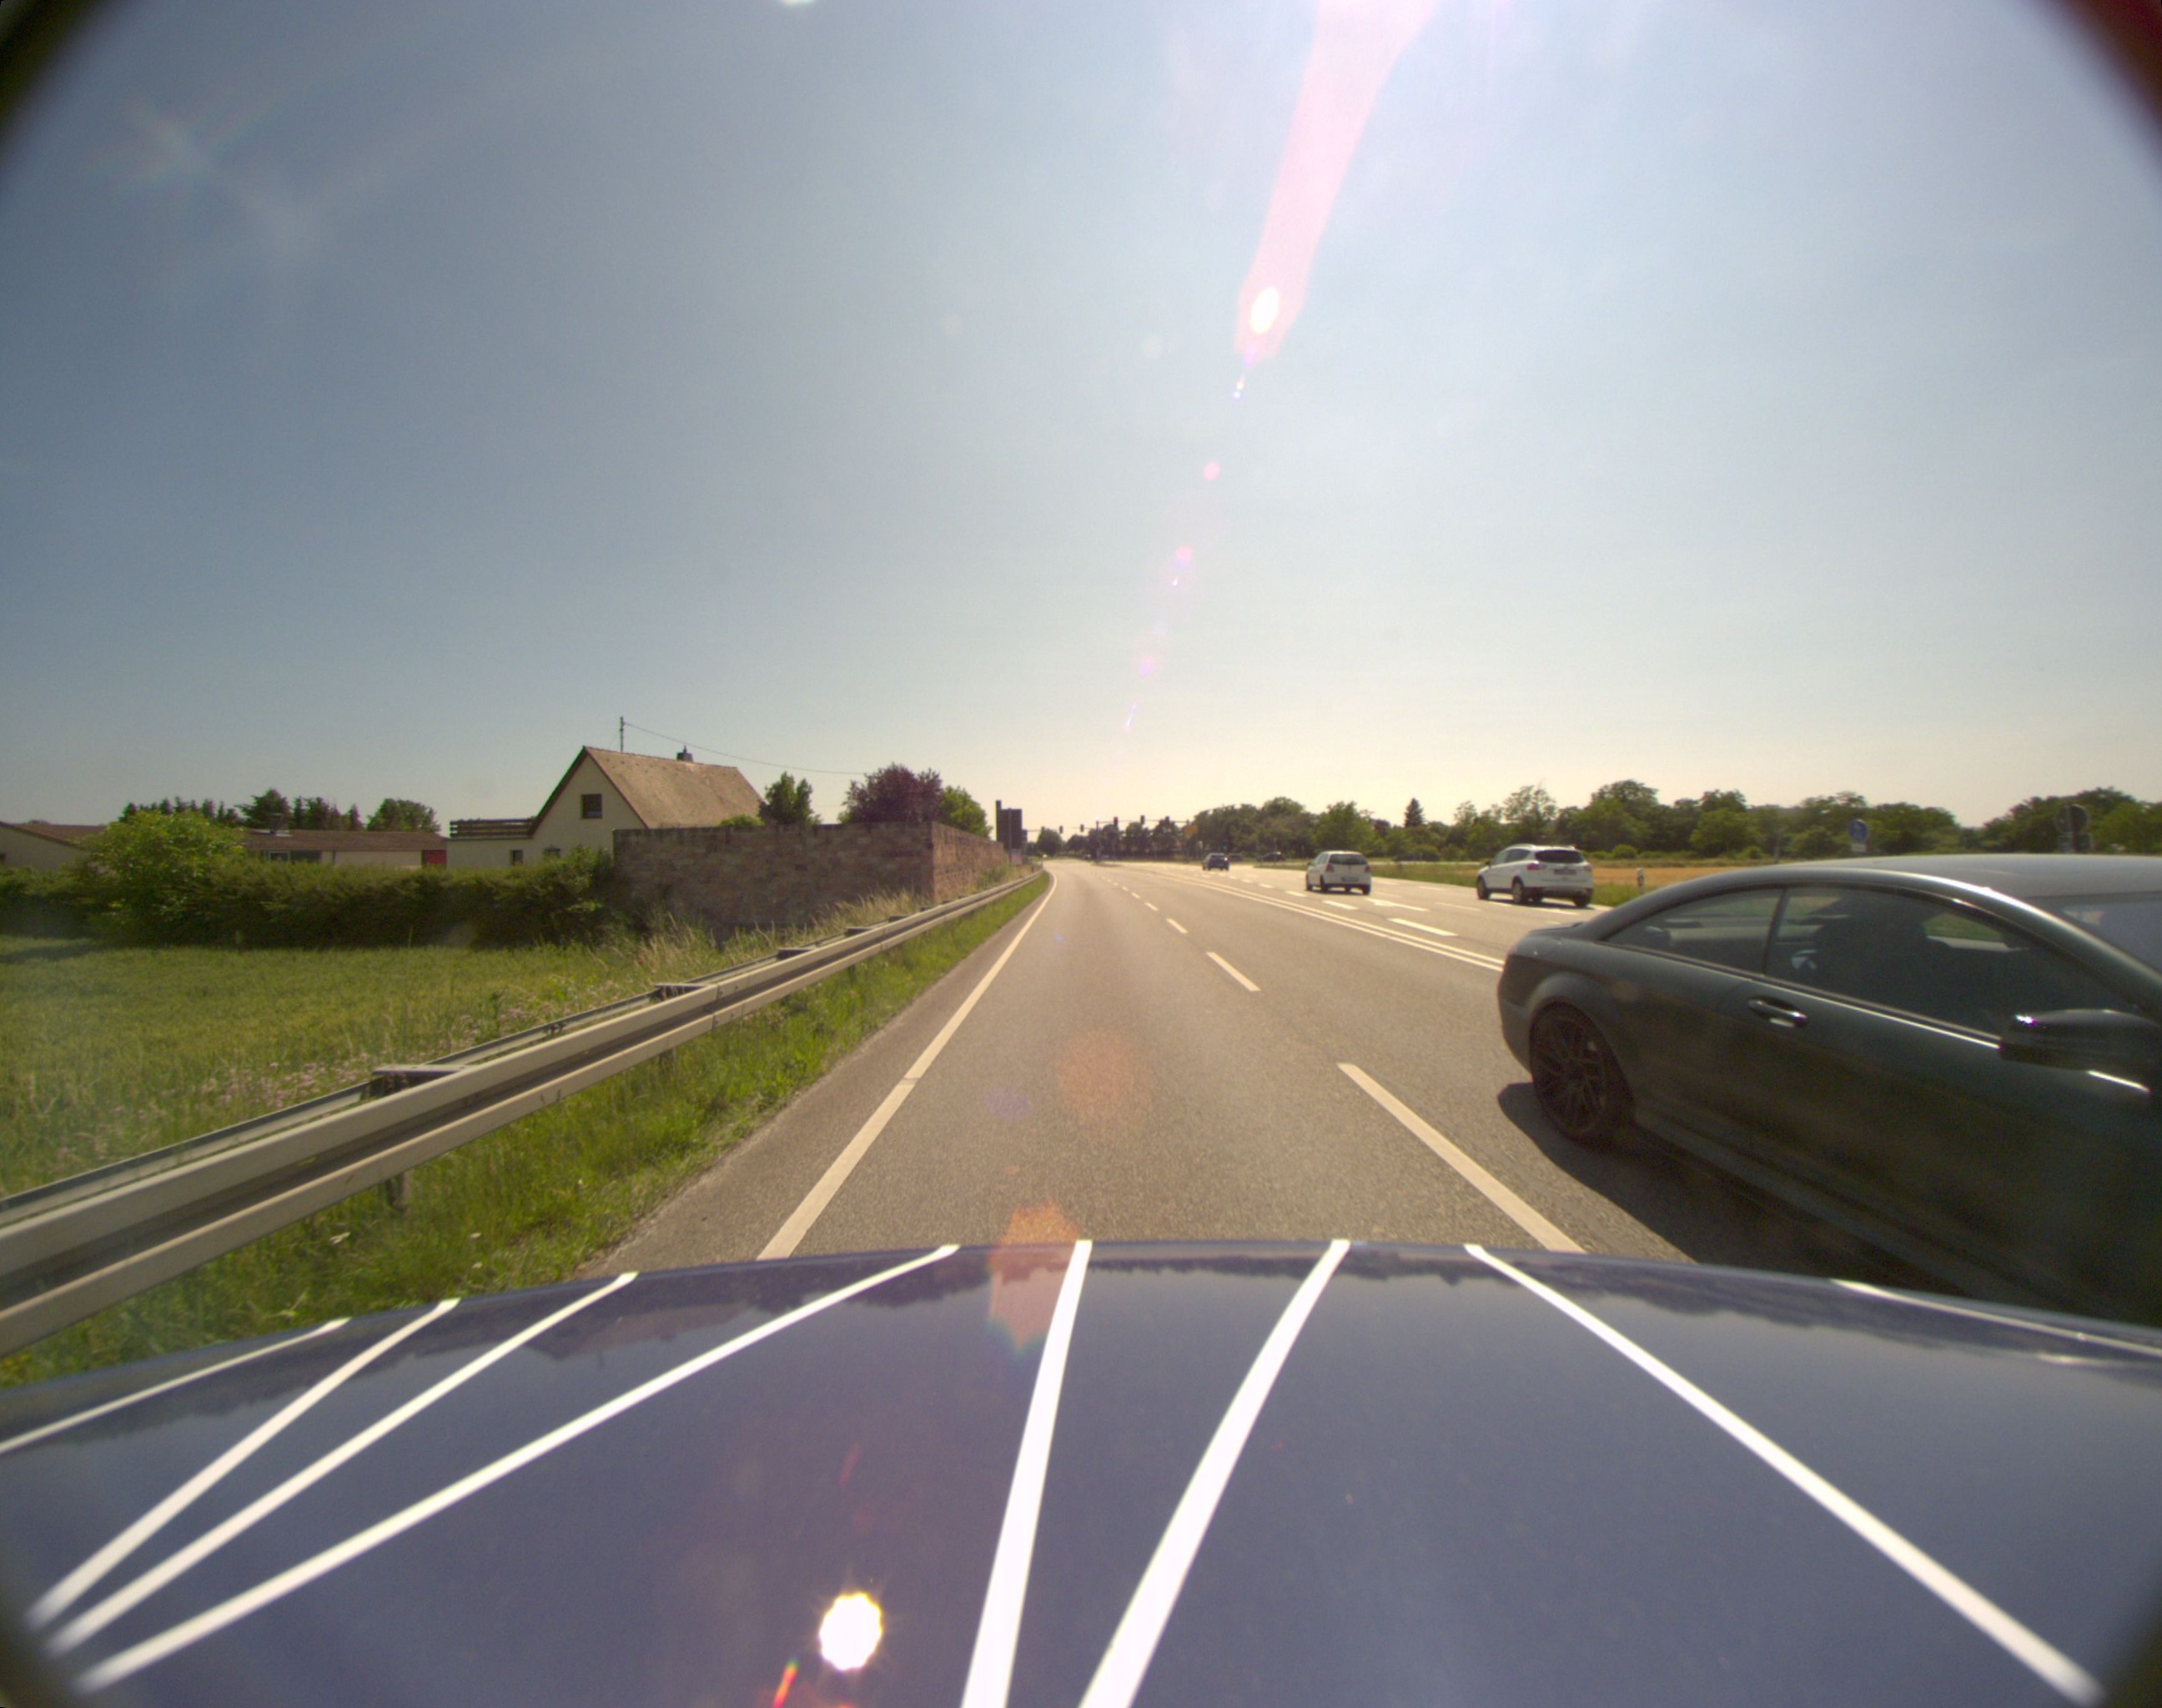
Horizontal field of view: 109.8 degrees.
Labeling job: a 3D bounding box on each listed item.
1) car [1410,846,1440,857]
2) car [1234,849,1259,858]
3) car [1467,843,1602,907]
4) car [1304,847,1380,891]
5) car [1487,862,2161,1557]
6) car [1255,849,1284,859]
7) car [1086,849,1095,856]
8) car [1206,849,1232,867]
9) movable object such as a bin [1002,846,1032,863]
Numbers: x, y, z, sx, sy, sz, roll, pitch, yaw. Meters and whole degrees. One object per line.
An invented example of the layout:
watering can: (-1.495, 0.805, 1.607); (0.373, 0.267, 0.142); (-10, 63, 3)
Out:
car: (53.156, -0.378, 117.535); (3.992, 1.565, 1.740); (-2, 1, 18)
car: (26.802, -0.028, 122.922); (3.874, 1.379, 1.636); (-1, 0, 10)
car: (13.170, 0.545, 22.399); (1.668, 1.667, 4.464); (1, 0, 6)
car: (9.313, 0.512, 27.451); (1.752, 1.433, 4.084); (1, 0, 7)
car: (3.304, 0.815, 2.061); (1.815, 1.441, 4.877); (-2, 0, 1)
car: (30.027, -0.055, 121.156); (4.361, 1.585, 1.636); (0, 1, 13)
car: (2.365, -0.396, 189.905); (1.836, 1.591, 4.302); (0, 1, -7)
car: (11.772, 0.321, 64.949); (1.763, 1.449, 4.232); (1, 1, 5)
movable object such as a bin: (-9.133, 0.088, 108.394); (4.107, 2.318, 1.276); (-3, 1, -7)
